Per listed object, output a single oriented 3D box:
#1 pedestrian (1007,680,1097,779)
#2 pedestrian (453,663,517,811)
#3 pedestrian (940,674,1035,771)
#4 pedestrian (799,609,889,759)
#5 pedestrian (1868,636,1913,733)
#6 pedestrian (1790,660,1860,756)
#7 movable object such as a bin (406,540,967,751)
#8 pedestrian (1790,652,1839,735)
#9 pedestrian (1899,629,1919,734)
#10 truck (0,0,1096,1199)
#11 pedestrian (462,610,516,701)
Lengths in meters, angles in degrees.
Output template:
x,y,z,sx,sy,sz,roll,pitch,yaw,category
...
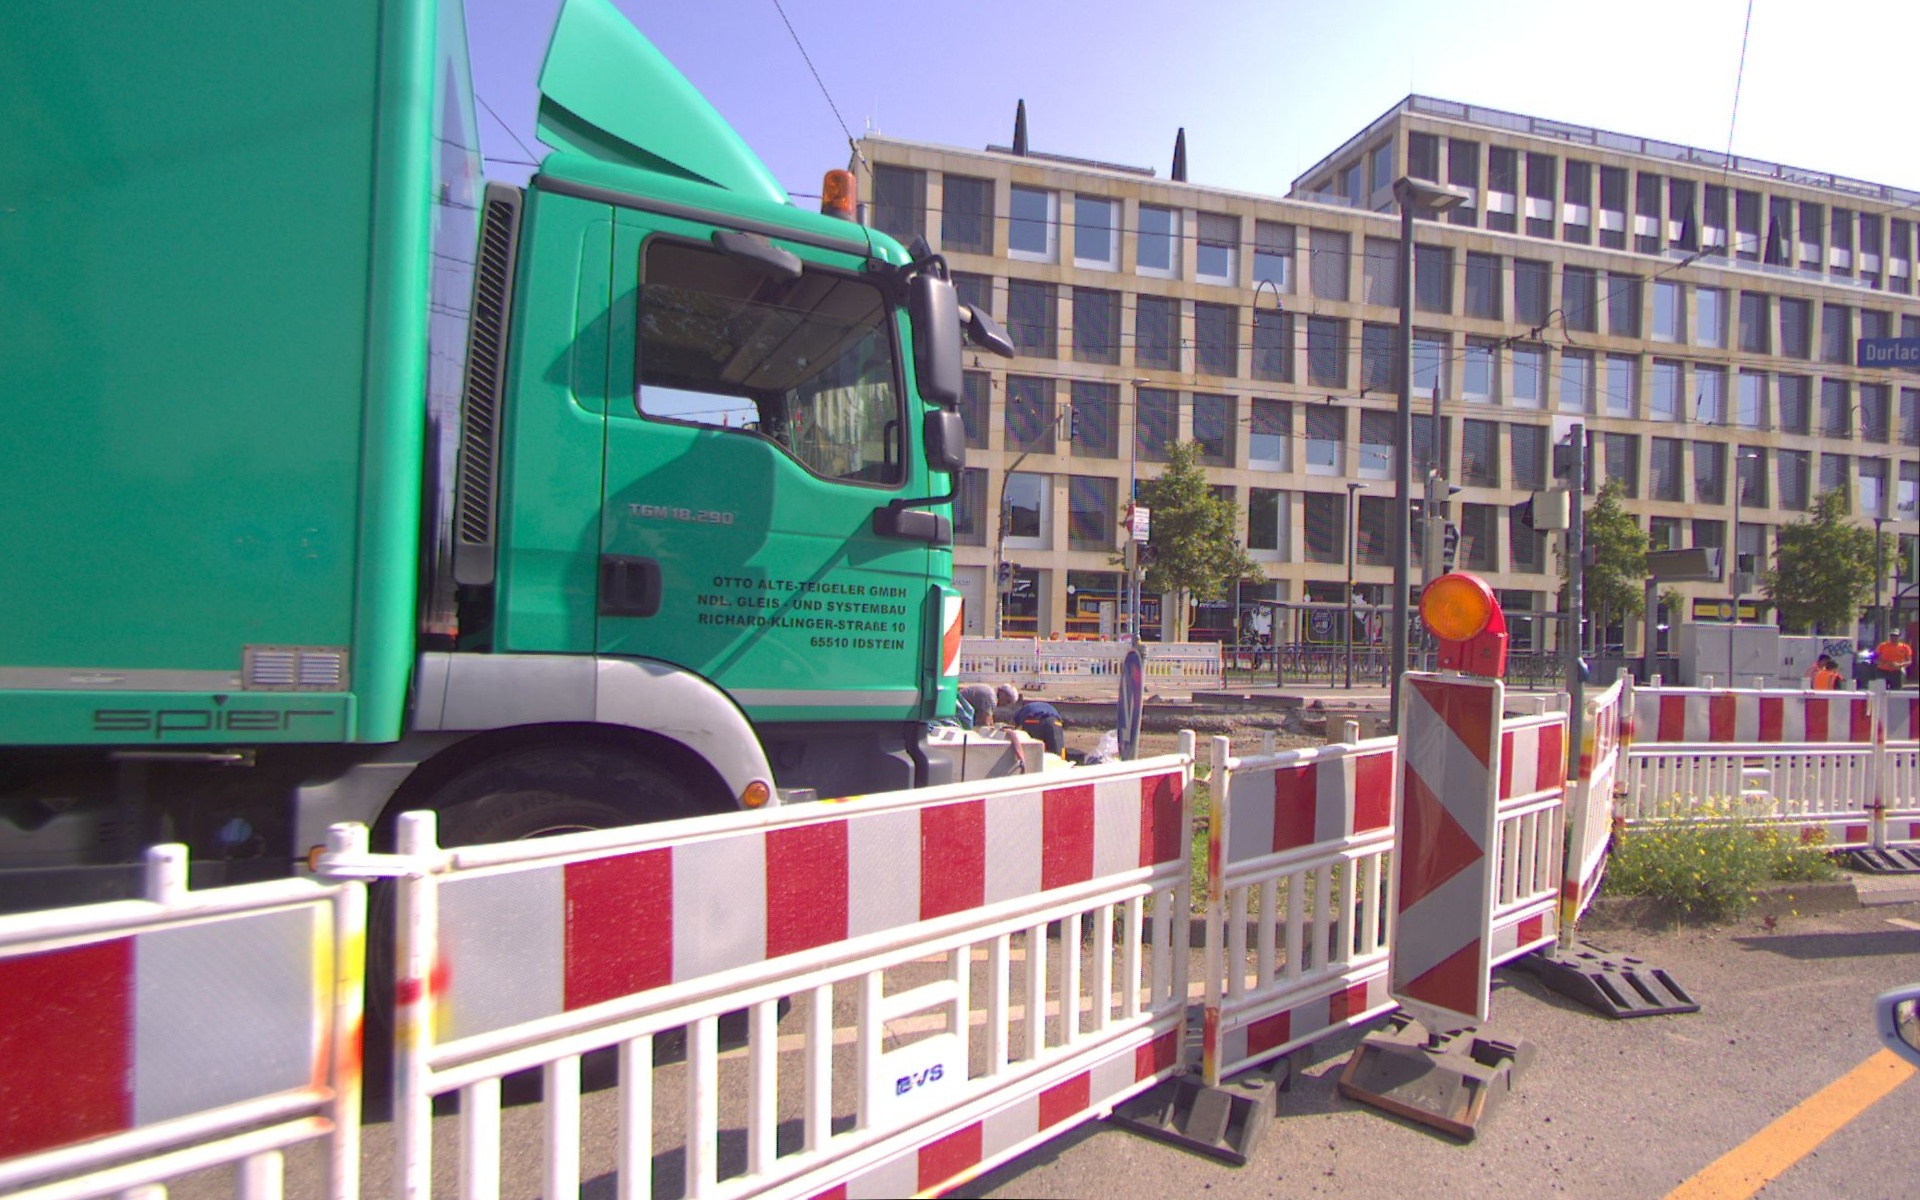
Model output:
x,y,z,sx,sy,sz,roll,pitch,yaw,category
0.912,1.288,10.092,0.807,0.938,0.512,1,-2,-7,pedestrian
-5.412,1.528,11.440,0.551,1.587,0.696,2,-2,-32,pedestrian
0.300,1.335,11.089,0.921,1.001,0.510,1,-2,-20,pedestrian
-1.290,0.911,11.162,0.811,1.587,0.551,2,-2,-38,pedestrian
18.243,1.639,19.696,0.617,1.839,0.637,-1,-2,43,pedestrian
15.698,1.939,18.253,0.756,1.685,0.669,0,-2,19,pedestrian
-4.411,0.824,17.441,8.335,2.997,3.614,3,-1,-15,movable object such as a bin
16.764,1.818,19.701,0.621,1.575,0.633,2,-2,-41,pedestrian
18.442,1.536,18.933,0.772,1.976,0.726,1,-2,0,pedestrian
-3.843,-0.507,3.019,8.310,3.965,2.782,1,0,-27,truck
-9.410,1.100,20.106,0.655,1.772,0.834,1,-2,-1,pedestrian
